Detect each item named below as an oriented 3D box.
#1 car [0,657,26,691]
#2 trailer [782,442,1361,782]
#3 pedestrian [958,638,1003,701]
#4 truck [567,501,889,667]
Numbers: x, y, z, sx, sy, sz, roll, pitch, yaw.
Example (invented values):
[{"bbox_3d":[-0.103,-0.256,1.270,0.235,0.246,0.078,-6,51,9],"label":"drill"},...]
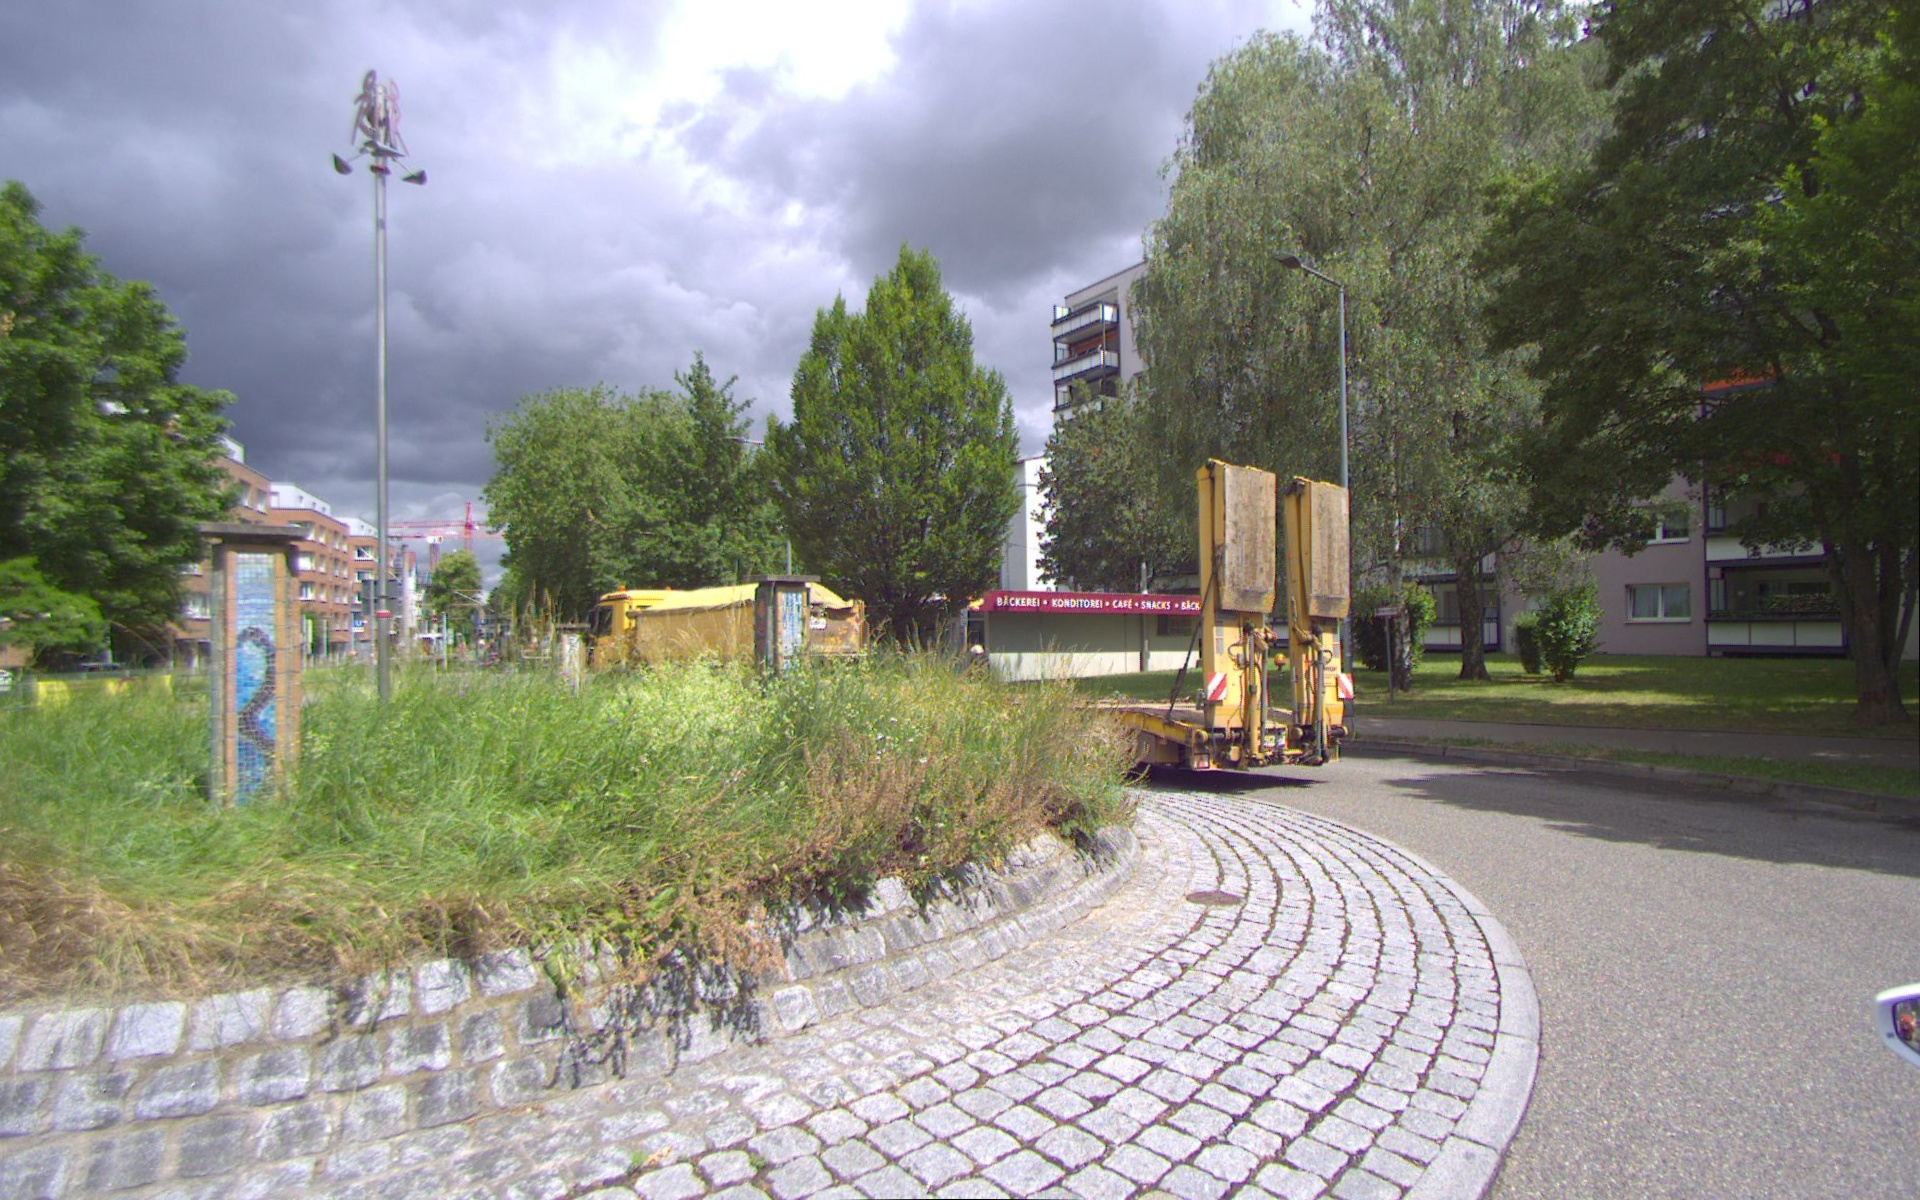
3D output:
[{"bbox_3d":[-54.810,4.195,55.732,3.949,1.831,1.987,-1,-4,-28],"label":"car"},{"bbox_3d":[0.625,0.198,15.458,2.841,3.417,10.747,2,-1,-32],"label":"trailer"},{"bbox_3d":[0.522,1.761,25.732,0.863,1.540,0.798,0,2,-26],"label":"pedestrian"},{"bbox_3d":[-5.500,-0.176,22.546,8.369,3.075,2.980,-2,-2,44],"label":"truck"}]
